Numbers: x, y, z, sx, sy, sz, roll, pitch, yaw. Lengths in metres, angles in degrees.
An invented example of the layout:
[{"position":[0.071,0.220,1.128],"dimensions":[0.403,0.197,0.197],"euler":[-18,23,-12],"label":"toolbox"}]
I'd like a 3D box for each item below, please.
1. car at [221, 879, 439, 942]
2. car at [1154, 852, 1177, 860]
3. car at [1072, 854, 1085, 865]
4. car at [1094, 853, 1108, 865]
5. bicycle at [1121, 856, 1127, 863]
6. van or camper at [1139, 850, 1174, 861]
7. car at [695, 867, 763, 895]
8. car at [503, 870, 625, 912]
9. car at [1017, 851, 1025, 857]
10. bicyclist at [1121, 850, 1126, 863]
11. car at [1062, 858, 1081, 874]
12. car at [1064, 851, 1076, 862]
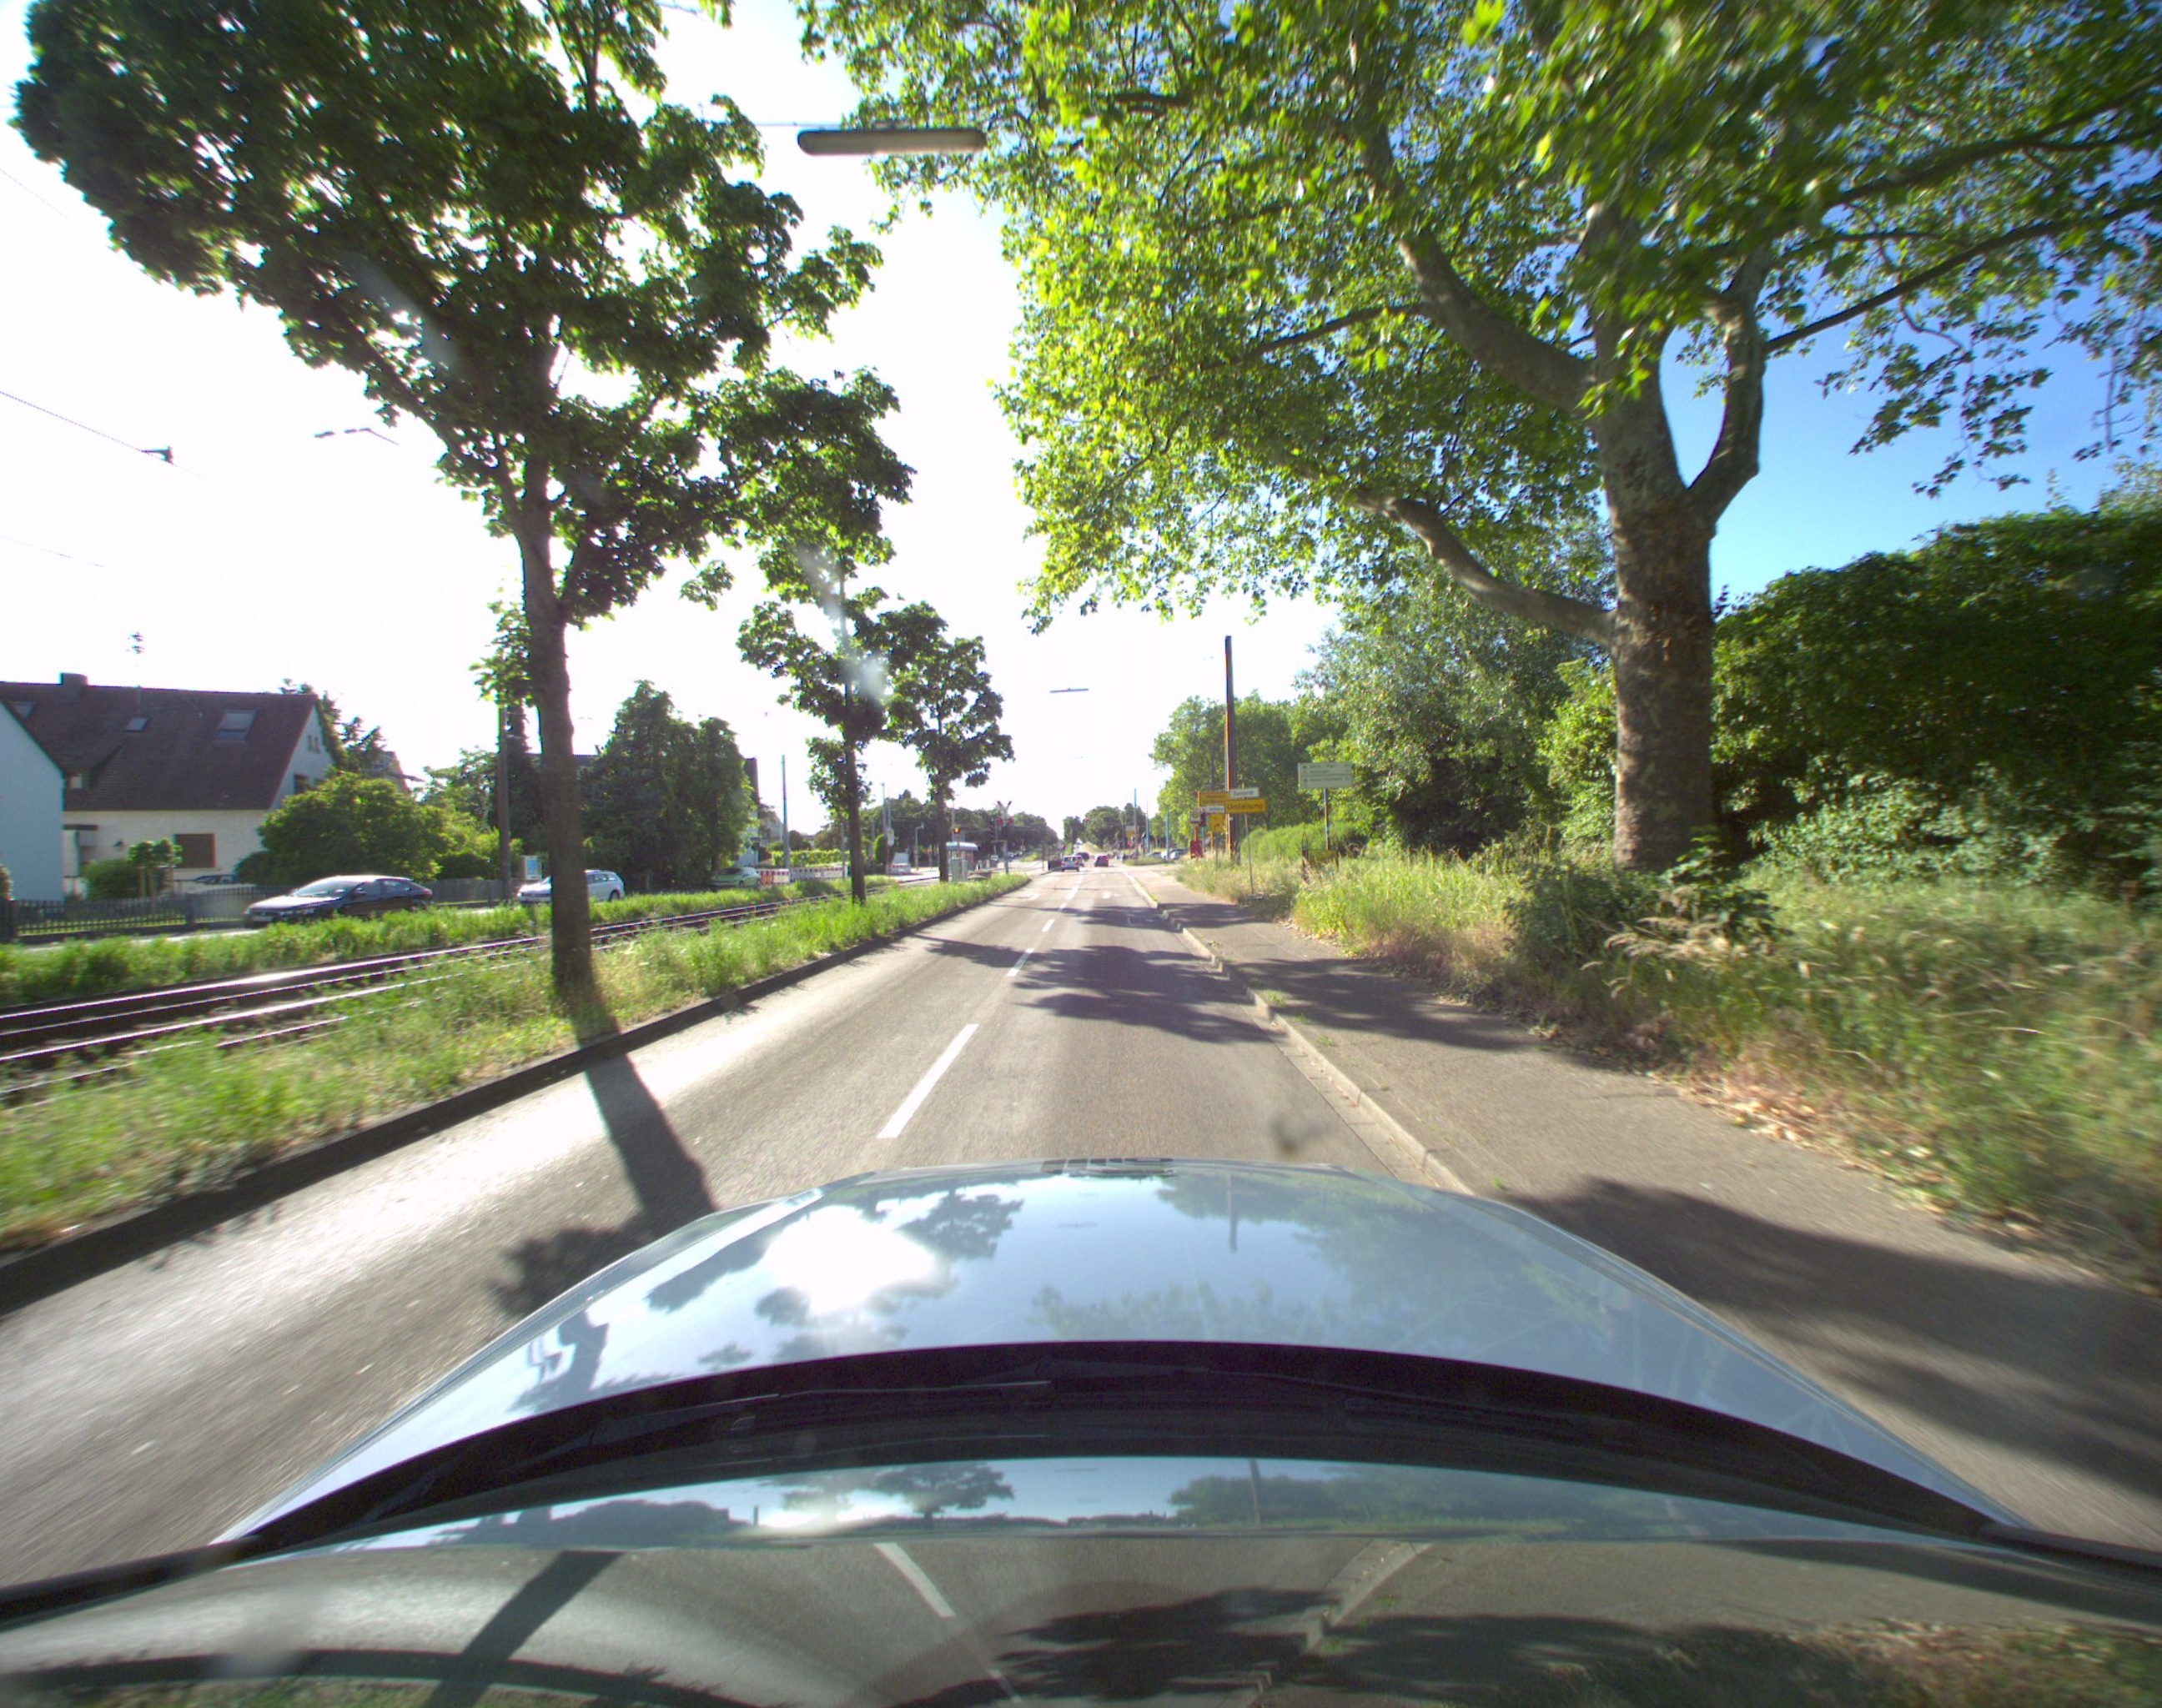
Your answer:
[{"position":[-20.708,1.504,22.779],"dimensions":[1.900,1.466,4.442],"euler":[0,0,1],"label":"car"},{"position":[15.902,0.291,152.788],"dimensions":[4.001,1.473,1.740],"euler":[0,-1,-20],"label":"car"},{"position":[-0.361,0.738,107.450],"dimensions":[1.613,1.457,4.086],"euler":[-1,0,1],"label":"car"},{"position":[2.560,0.656,101.901],"dimensions":[1.662,1.462,3.587],"euler":[-2,0,2],"label":"car"},{"position":[6.061,0.769,115.819],"dimensions":[0.719,0.989,2.876],"euler":[0,0,1],"label":"bicycle"},{"position":[13.497,0.206,145.843],"dimensions":[5.953,1.828,1.998],"euler":[-2,0,-3],"label":"van or camper"},{"position":[-20.305,1.522,47.168],"dimensions":[1.986,1.501,4.071],"euler":[0,-1,2],"label":"car"},{"position":[-20.453,1.428,32.493],"dimensions":[1.877,1.472,4.614],"euler":[0,0,0],"label":"car"},{"position":[-15.680,-0.017,213.998],"dimensions":[1.991,1.604,4.745],"euler":[-1,0,-6],"label":"car"},{"position":[6.057,0.362,115.743],"dimensions":[0.663,1.716,0.948],"euler":[0,-1,1],"label":"bicyclist"},{"position":[-0.876,1.073,75.126],"dimensions":[1.613,1.417,3.352],"euler":[-2,-1,1],"label":"car"},{"position":[-2.134,0.511,152.601],"dimensions":[1.986,2.013,4.493],"euler":[-2,0,2],"label":"car"}]
